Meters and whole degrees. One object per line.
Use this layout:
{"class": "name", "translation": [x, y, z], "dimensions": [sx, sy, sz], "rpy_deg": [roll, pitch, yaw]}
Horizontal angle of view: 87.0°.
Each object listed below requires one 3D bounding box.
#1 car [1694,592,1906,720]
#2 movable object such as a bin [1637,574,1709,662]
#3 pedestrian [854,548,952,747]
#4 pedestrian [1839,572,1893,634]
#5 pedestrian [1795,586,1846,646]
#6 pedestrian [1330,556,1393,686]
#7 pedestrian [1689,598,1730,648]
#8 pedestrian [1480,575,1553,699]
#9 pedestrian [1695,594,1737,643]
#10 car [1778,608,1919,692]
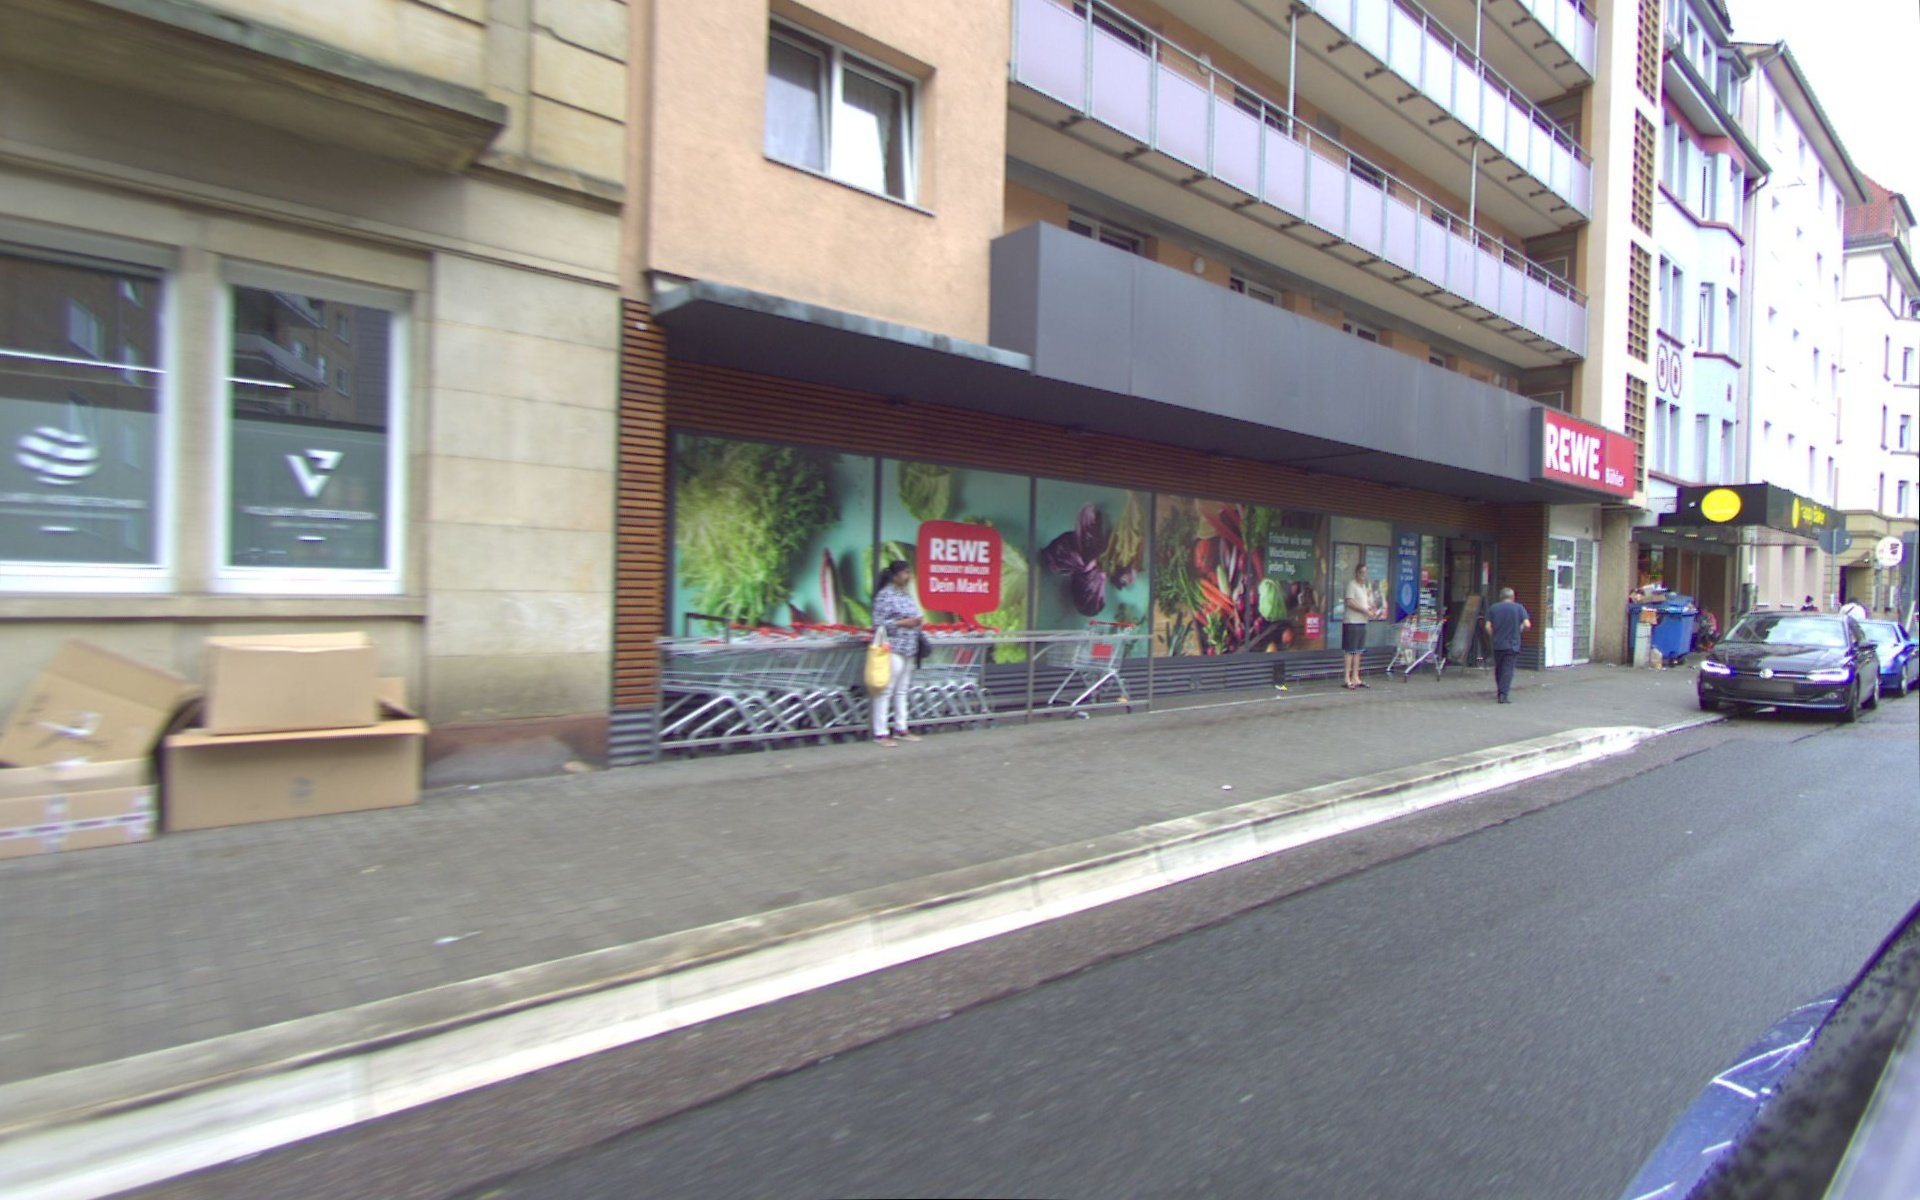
{"class": "car", "translation": [12.262, 0.696, 14.697], "dimensions": [3.912, 1.566, 1.733], "rpy_deg": [0, 2, -41]}
{"class": "movable object such as a bin", "translation": [15.280, 0.349, 21.685], "dimensions": [1.274, 1.815, 1.000], "rpy_deg": [-1, 2, -43]}
{"class": "pedestrian", "translation": [-0.473, 0.372, 8.535], "dimensions": [0.559, 1.592, 0.620], "rpy_deg": [1, 1, 33]}
{"class": "pedestrian", "translation": [25.482, 0.074, 28.483], "dimensions": [0.767, 1.667, 0.705], "rpy_deg": [2, 2, -6]}
{"class": "pedestrian", "translation": [25.080, 0.455, 29.515], "dimensions": [0.767, 1.667, 0.705], "rpy_deg": [2, 2, -6]}
{"class": "pedestrian", "translation": [5.991, 0.289, 15.105], "dimensions": [0.714, 1.882, 0.597], "rpy_deg": [-1, 1, -38]}
{"class": "pedestrian", "translation": [19.670, 0.599, 26.565], "dimensions": [0.645, 1.273, 0.625], "rpy_deg": [1, 3, -33]}
{"class": "pedestrian", "translation": [7.823, 0.494, 14.227], "dimensions": [0.735, 1.672, 0.627], "rpy_deg": [0, 2, -39]}
{"class": "pedestrian", "translation": [20.337, 0.485, 27.226], "dimensions": [0.647, 1.273, 0.703], "rpy_deg": [0, 3, -41]}
{"class": "car", "translation": [16.353, 0.834, 18.275], "dimensions": [3.699, 1.327, 1.738], "rpy_deg": [0, -1, -39]}
